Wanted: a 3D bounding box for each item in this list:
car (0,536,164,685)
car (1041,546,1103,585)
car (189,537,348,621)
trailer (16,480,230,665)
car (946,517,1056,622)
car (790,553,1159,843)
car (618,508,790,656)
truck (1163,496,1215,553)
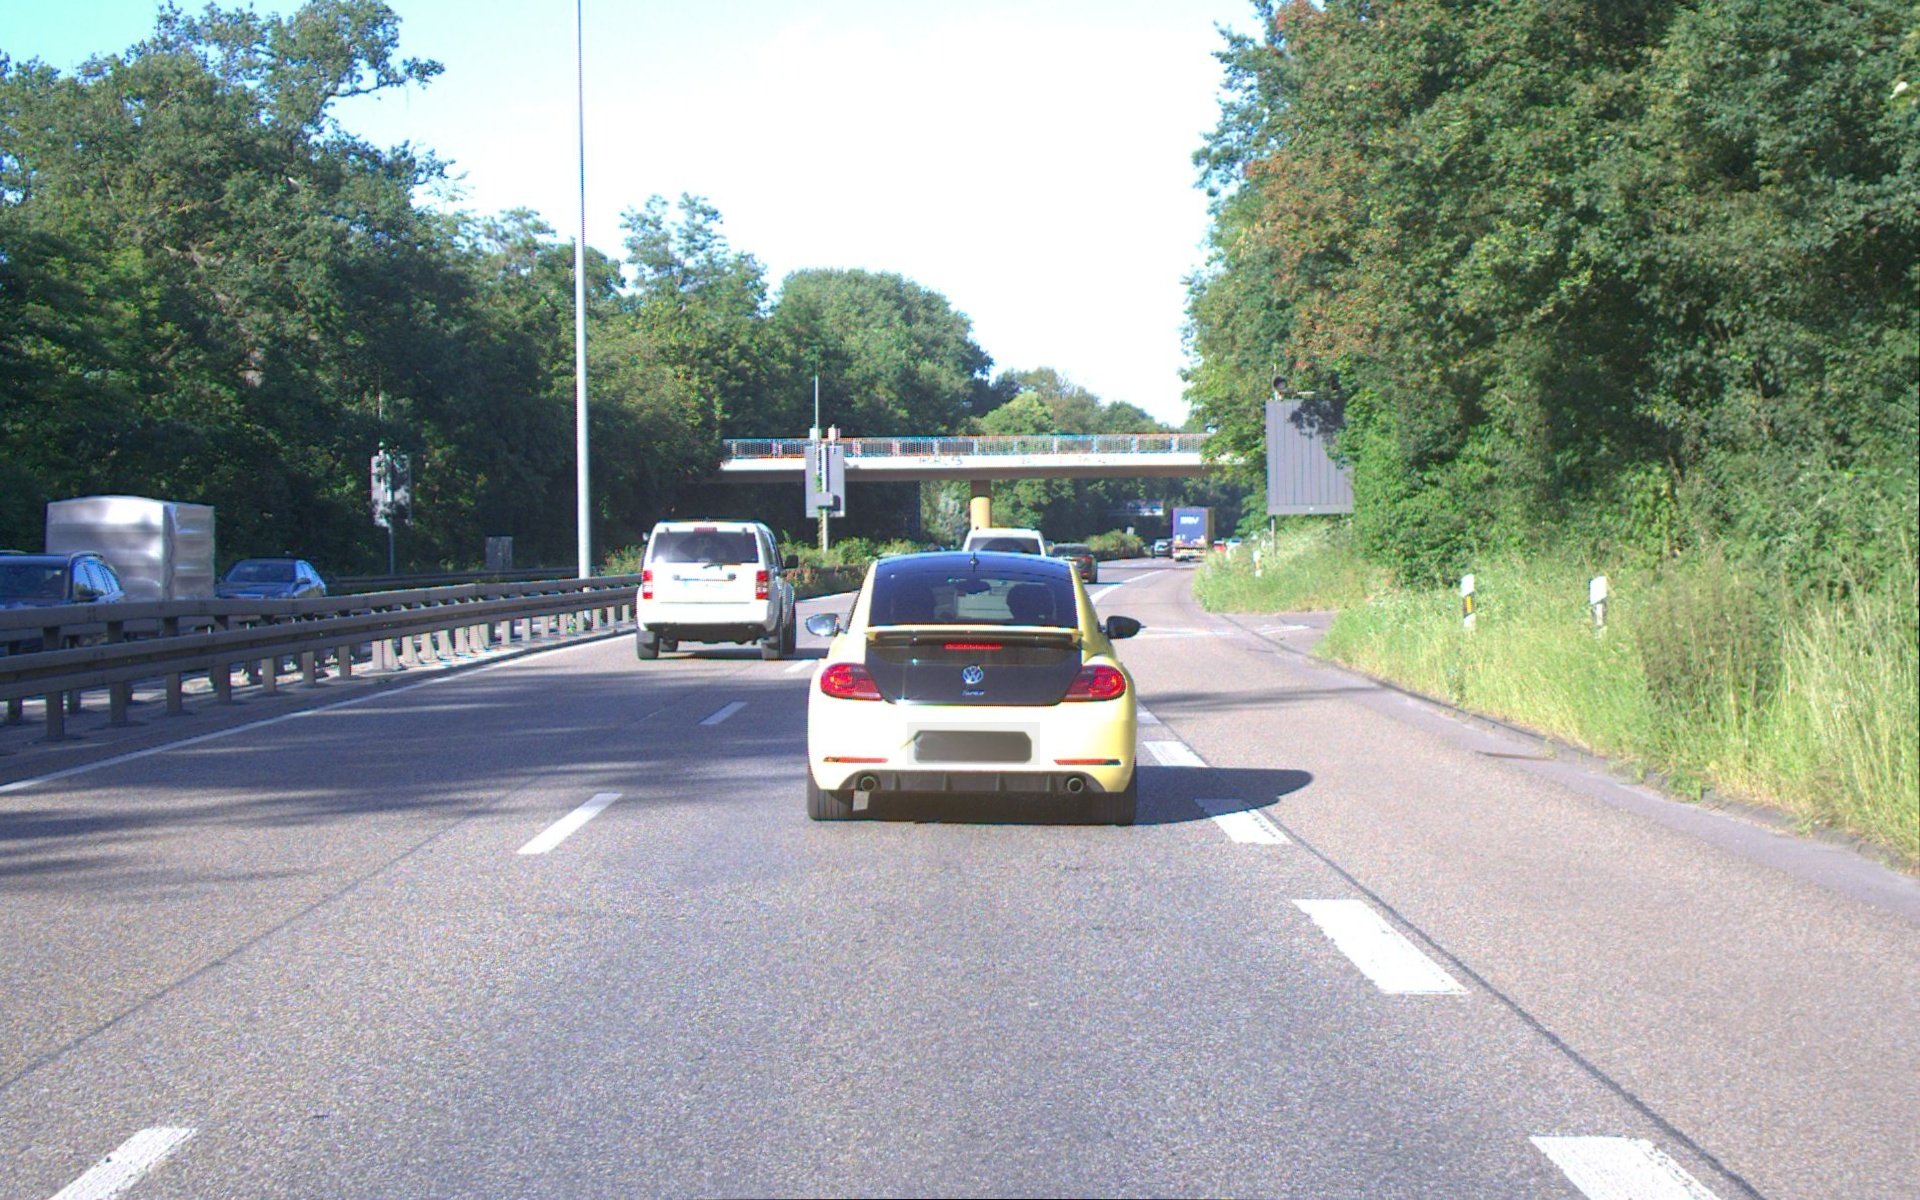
[{"bbox_3d":[-11.500,0.084,42.954,2.071,1.742,5.225,-1,1,-2],"label":"car"},{"bbox_3d":[4.182,-1.294,127.300,1.994,1.393,3.999,0,1,6],"label":"car"},{"bbox_3d":[-14.751,-0.480,73.688,2.119,1.719,5.876,1,1,1],"label":"car"},{"bbox_3d":[-11.580,-0.401,47.847,1.993,2.429,4.607,-1,1,-2],"label":"trailer"},{"bbox_3d":[0.691,-0.548,60.756,1.863,1.764,4.470,-1,1,0],"label":"car"},{"bbox_3d":[-0.004,0.478,19.945,1.879,1.456,4.356,1,1,-2],"label":"car"},{"bbox_3d":[-3.294,-0.260,44.908,2.085,1.822,4.001,-1,1,-2],"label":"car"},{"bbox_3d":[17.110,-5.592,256.320,3.497,4.158,8.860,0,1,6],"label":"truck"}]
